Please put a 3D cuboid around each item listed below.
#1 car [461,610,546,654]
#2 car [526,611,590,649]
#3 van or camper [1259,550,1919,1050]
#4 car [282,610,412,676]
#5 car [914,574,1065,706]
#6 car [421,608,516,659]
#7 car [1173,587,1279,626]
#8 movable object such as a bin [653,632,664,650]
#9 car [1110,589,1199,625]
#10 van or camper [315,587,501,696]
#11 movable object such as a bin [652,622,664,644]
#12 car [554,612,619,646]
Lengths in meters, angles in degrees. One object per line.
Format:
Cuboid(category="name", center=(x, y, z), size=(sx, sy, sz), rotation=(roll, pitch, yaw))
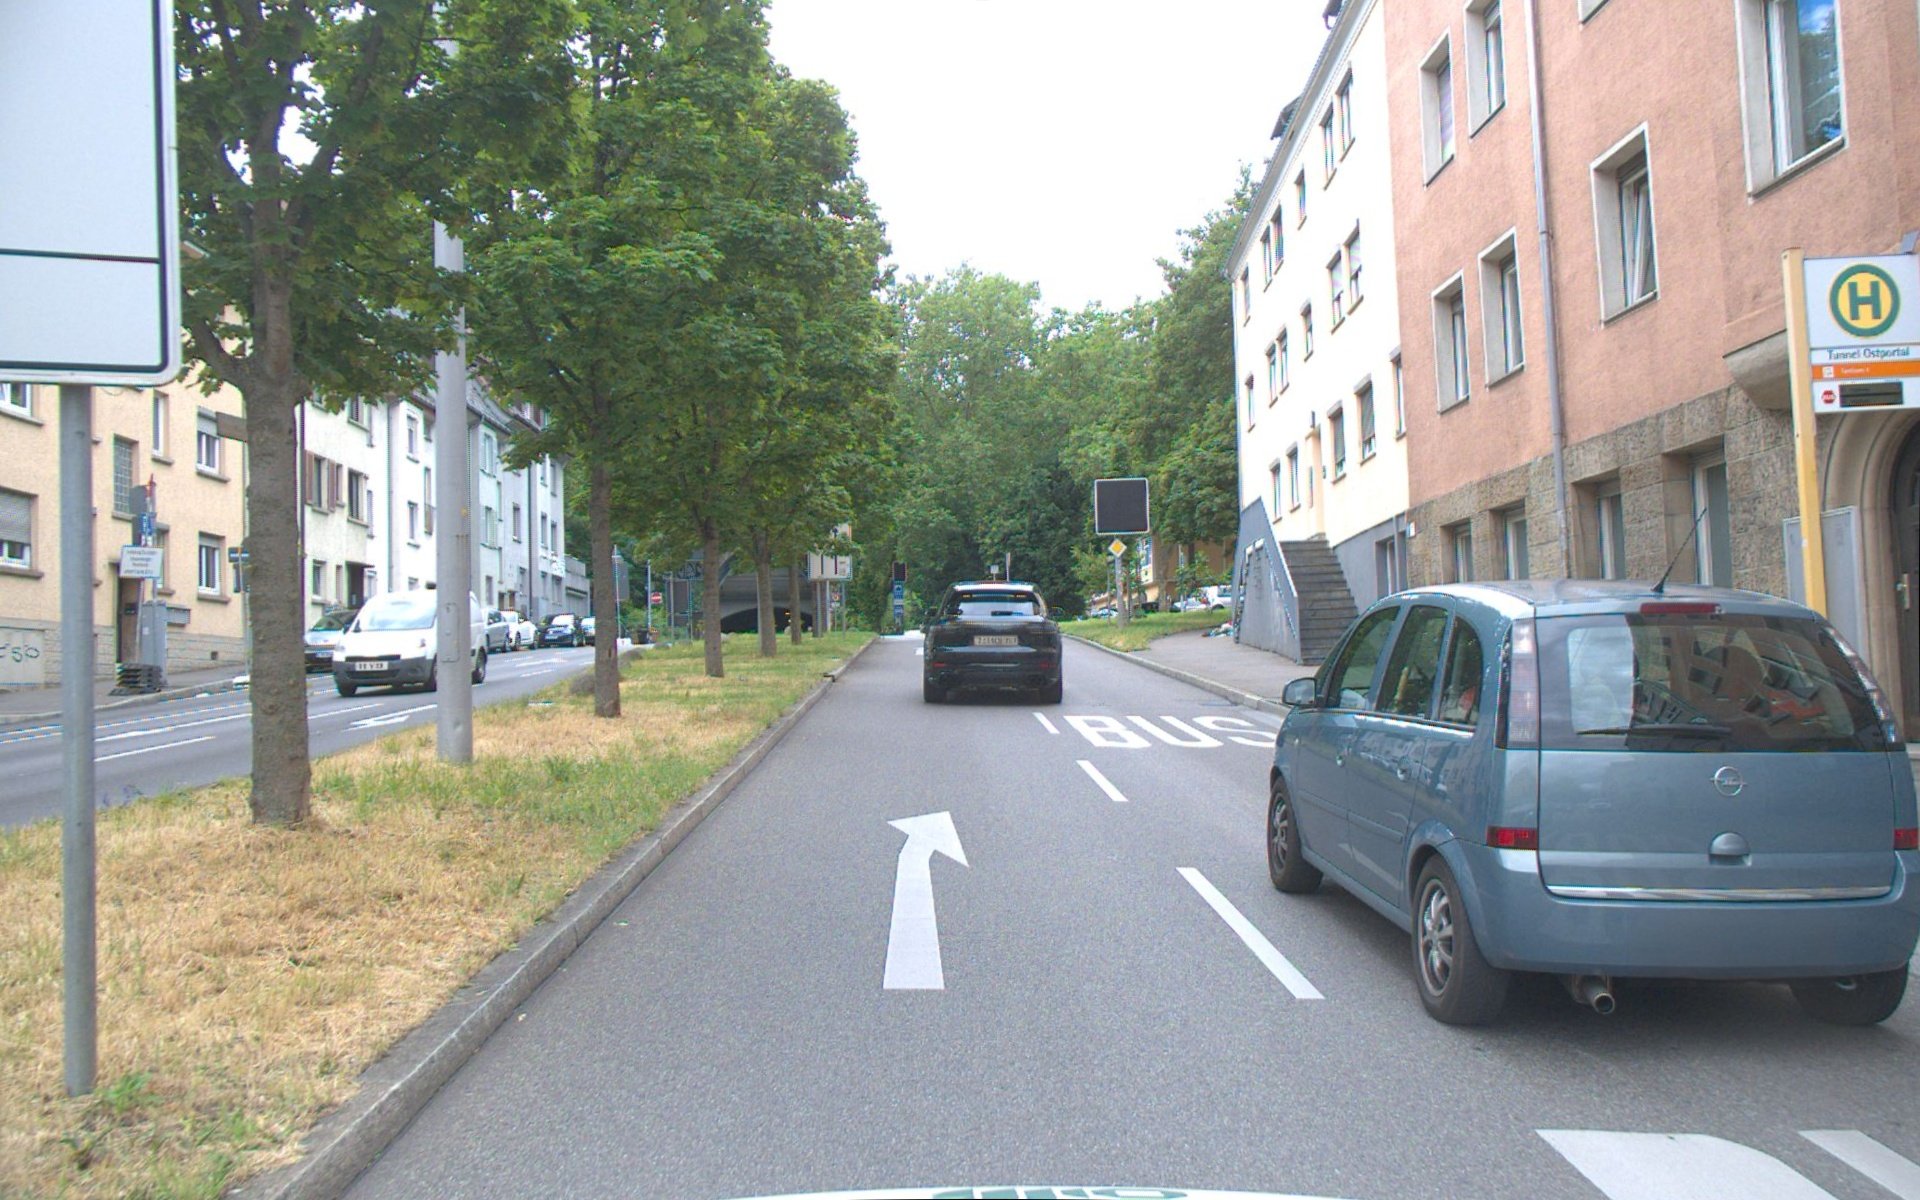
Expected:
Cuboid(category="car", center=(-16.546, 1.140, 60.163), size=(1.953, 1.500, 4.157), rotation=(-2, 0, -1))
Cuboid(category="car", center=(-16.825, 1.245, 69.400), size=(1.955, 1.448, 4.207), rotation=(-2, -1, -5))
Cuboid(category="van or camper", center=(2.519, 0.647, 7.166), size=(1.700, 1.605, 3.645), rotation=(1, 0, -2))
Cuboid(category="car", center=(-15.986, 1.088, 43.350), size=(1.953, 1.579, 4.156), rotation=(-2, -1, -2))
Cuboid(category="car", center=(0.403, 0.570, 24.167), size=(1.953, 1.682, 4.000), rotation=(-2, -1, 0))
Cuboid(category="car", center=(-16.267, 1.089, 54.949), size=(1.953, 1.579, 4.380), rotation=(-2, 0, -2))
Cuboid(category="car", center=(11.236, 0.270, 69.795), size=(4.067, 1.453, 1.847), rotation=(-3, 0, -26))
Cuboid(category="movable object such as a bin", center=(-16.697, 2.282, 91.505), size=(0.507, 0.984, 0.442), rotation=(2, -3, -17))
Cuboid(category="car", center=(8.751, 0.287, 74.165), size=(1.965, 1.442, 3.975), rotation=(-3, 0, 43))
Cuboid(category="van or camper", center=(-9.929, 0.704, 30.132), size=(1.869, 1.792, 4.653), rotation=(-1, 0, -1))
Cuboid(category="movable object such as a bin", center=(-16.813, 1.842, 92.018), size=(0.595, 1.207, 0.490), rotation=(2, -3, -17))
Cuboid(category="car", center=(-16.863, 1.332, 74.836), size=(1.953, 1.425, 4.516), rotation=(-2, -1, -1))
